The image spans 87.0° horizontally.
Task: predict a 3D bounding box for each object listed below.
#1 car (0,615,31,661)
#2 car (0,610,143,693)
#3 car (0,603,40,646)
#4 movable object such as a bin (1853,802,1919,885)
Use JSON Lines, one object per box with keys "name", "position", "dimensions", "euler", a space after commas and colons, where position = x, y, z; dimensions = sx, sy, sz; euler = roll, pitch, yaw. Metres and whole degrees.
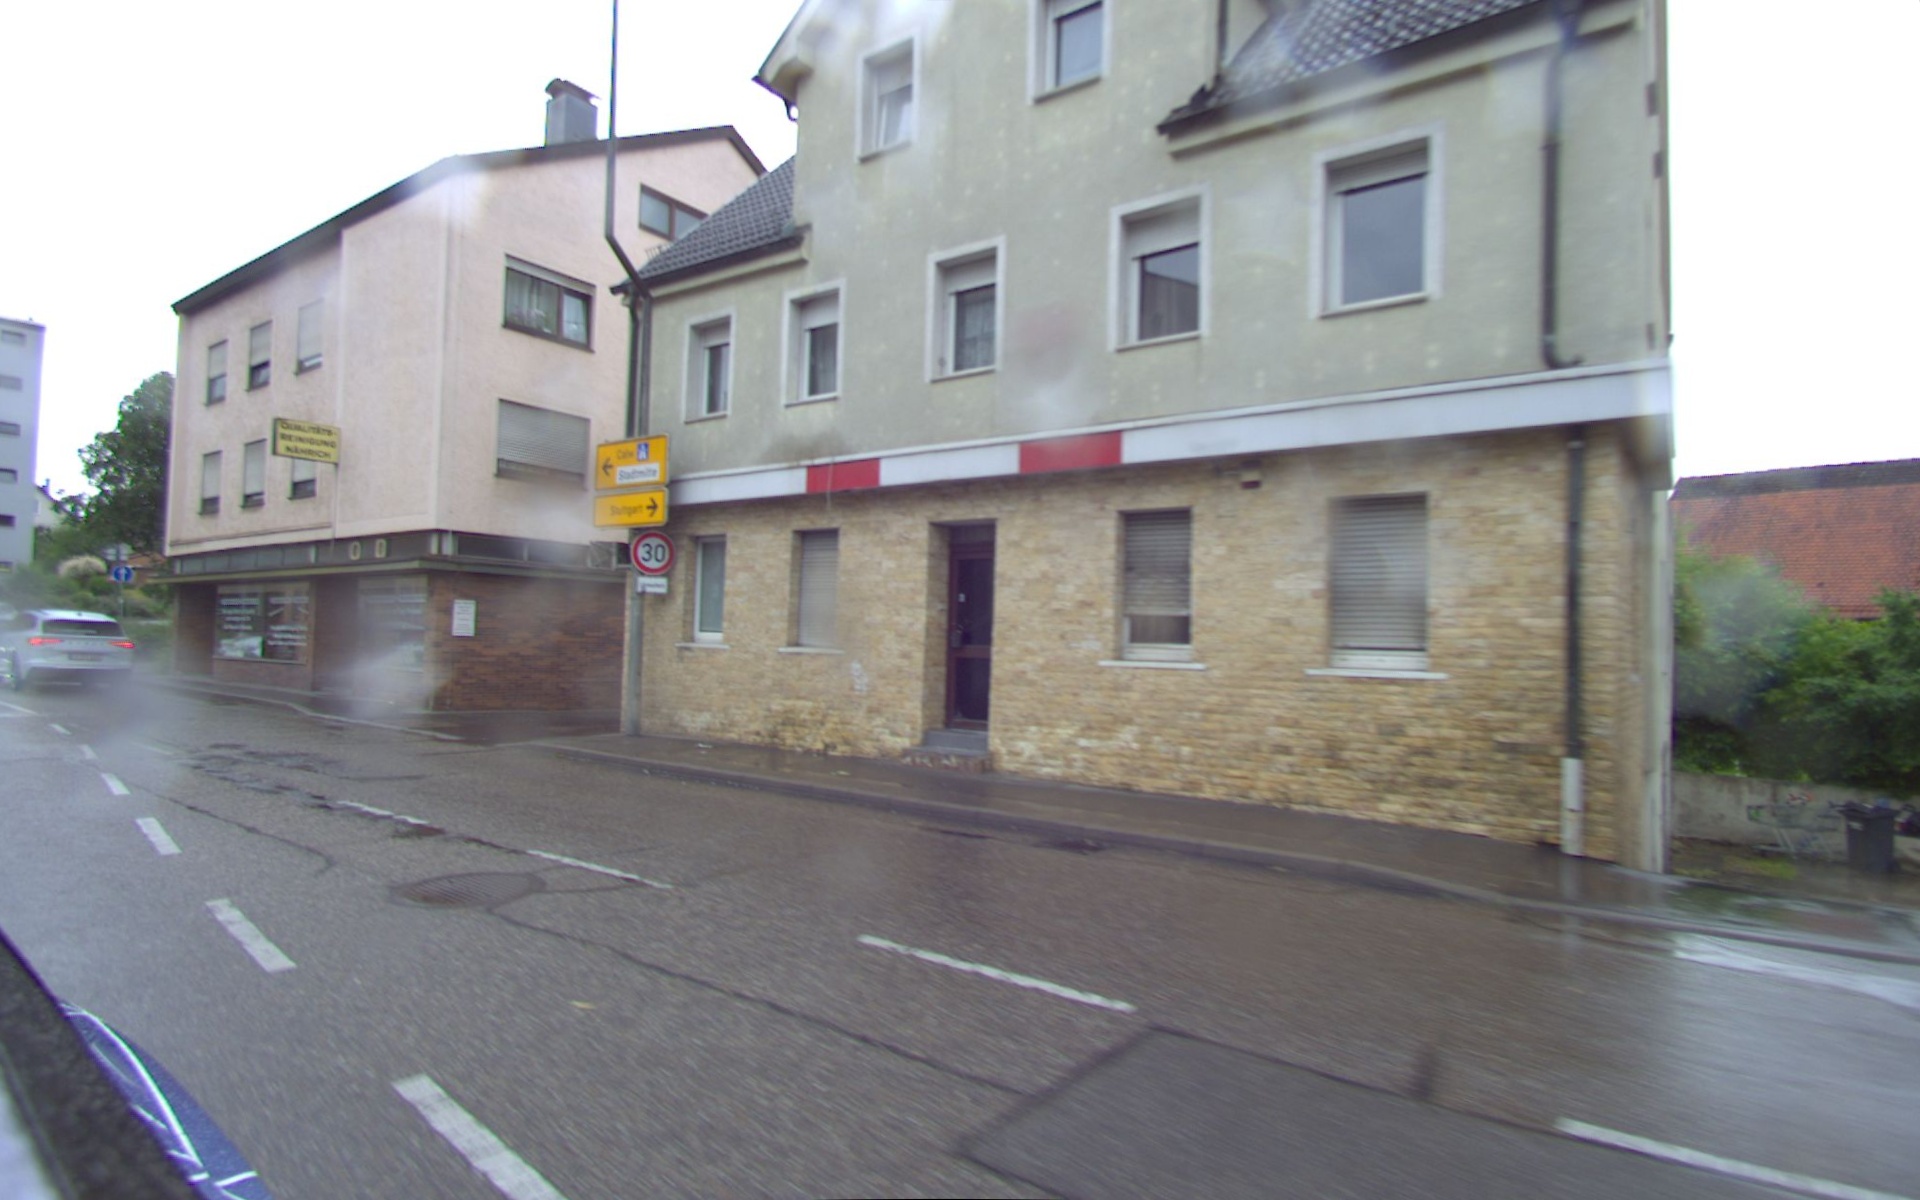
{"name": "car", "position": [-31.429, 1.219, 32.723], "dimensions": [4.113, 1.383, 1.672], "euler": [-3, -6, 43]}
{"name": "car", "position": [-18.909, 1.078, 21.118], "dimensions": [4.328, 1.572, 1.768], "euler": [-2, -5, 36]}
{"name": "car", "position": [-42.852, 0.970, 44.213], "dimensions": [1.869, 1.672, 4.958], "euler": [4, -7, -16]}
{"name": "movable object such as a bin", "position": [15.297, 4.003, 16.714], "dimensions": [0.747, 1.174, 0.724], "euler": [-2, -6, 38]}
